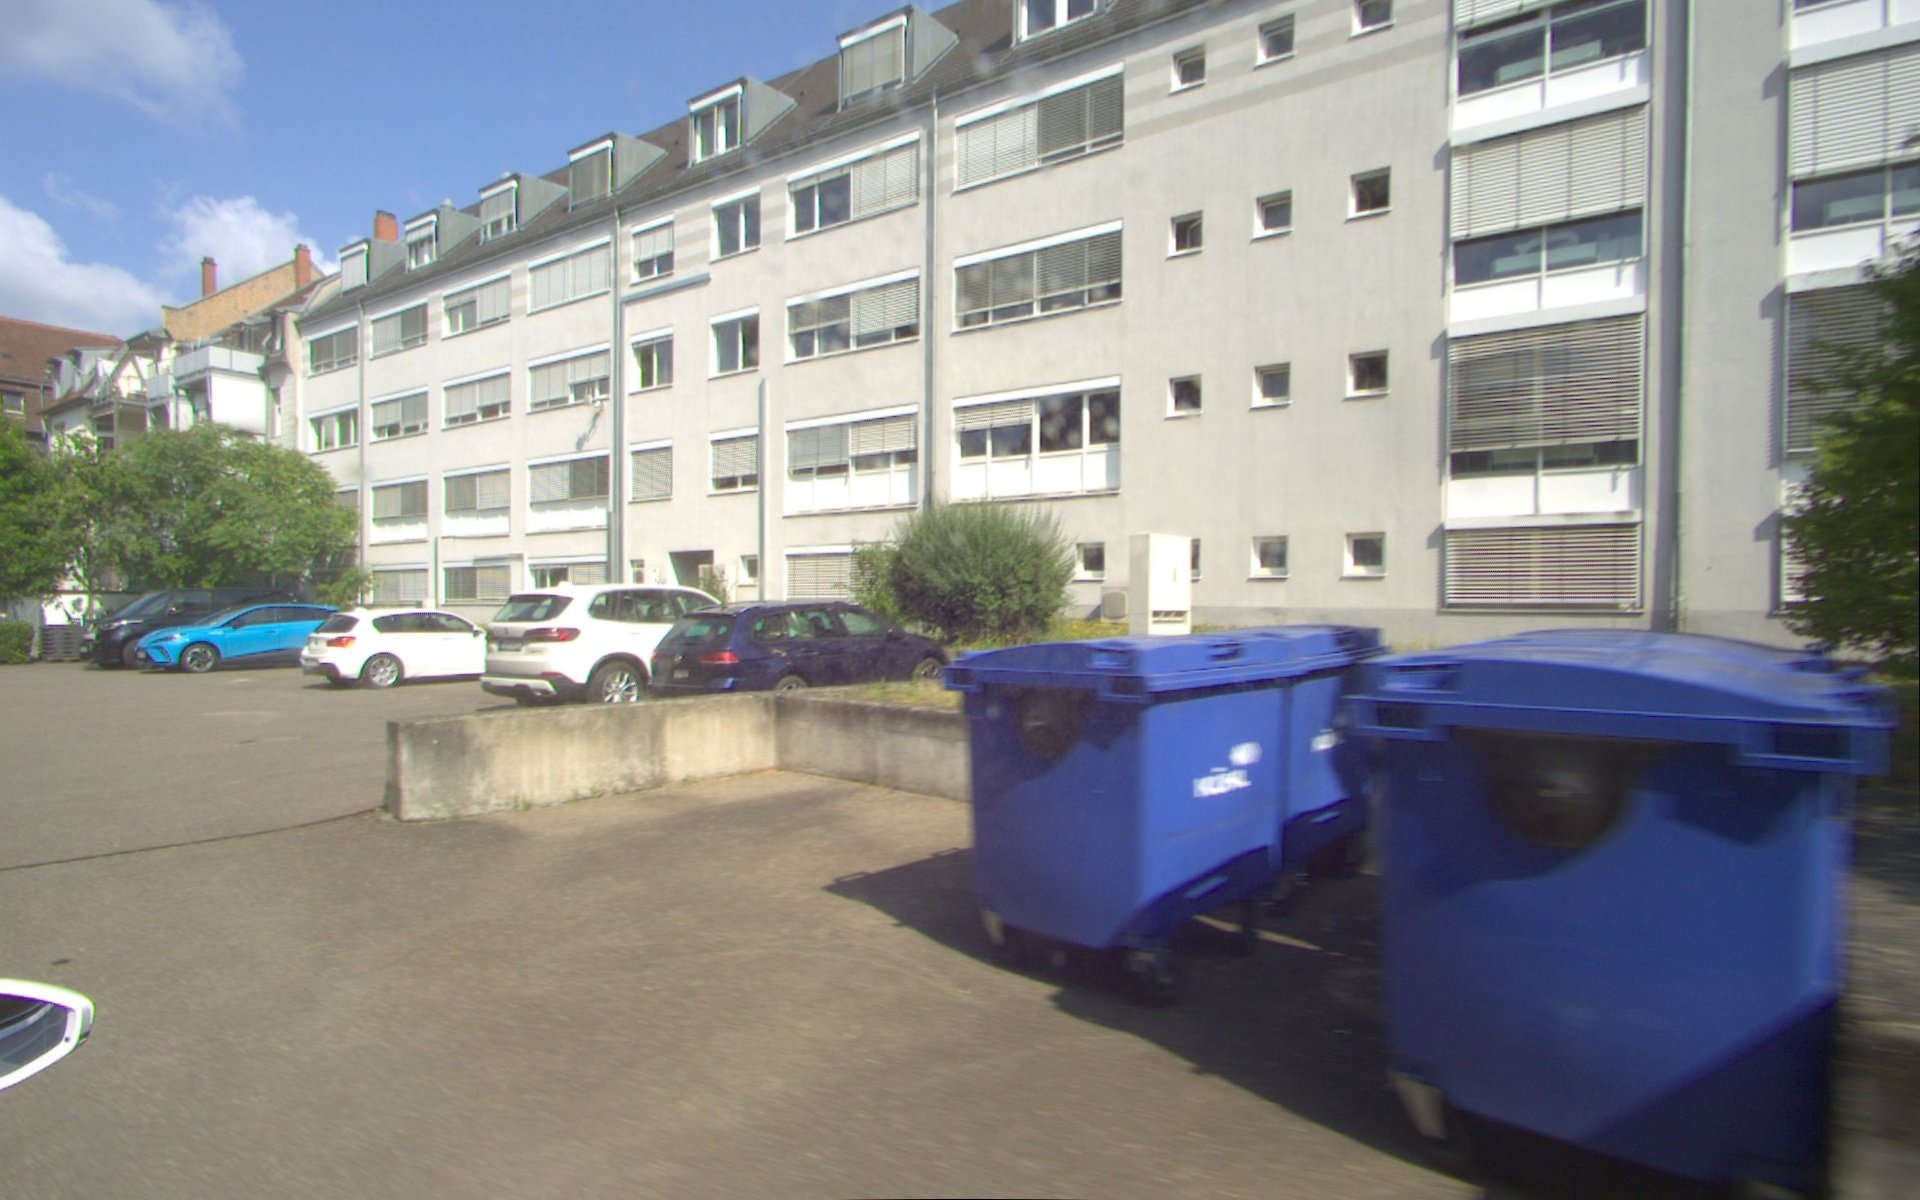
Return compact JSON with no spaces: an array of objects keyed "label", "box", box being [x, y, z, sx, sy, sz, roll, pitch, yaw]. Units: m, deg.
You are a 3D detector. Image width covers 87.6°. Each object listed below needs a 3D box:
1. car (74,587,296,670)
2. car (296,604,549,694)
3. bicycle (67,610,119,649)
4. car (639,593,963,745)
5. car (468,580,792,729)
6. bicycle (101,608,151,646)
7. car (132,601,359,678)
[{"label":"car","box":[-18.809,0.734,24.460,1.642,1.840,3.977,-2,-3,35]},{"label":"car","box":[-10.142,0.847,19.178,1.607,1.464,3.974,0,1,35]},{"label":"bicycle","box":[-25.546,0.880,29.492,1.832,1.131,0.640,-2,-3,32]},{"label":"car","box":[-1.875,0.841,12.932,1.733,1.626,4.100,-2,-3,37]},{"label":"car","box":[-4.464,0.664,14.076,1.924,1.768,3.975,-1,-1,35]},{"label":"bicycle","box":[-25.829,0.854,31.003,1.832,1.131,0.640,-2,-3,32]},{"label":"car","box":[-16.441,0.836,23.214,1.607,1.595,3.974,0,1,35]}]
